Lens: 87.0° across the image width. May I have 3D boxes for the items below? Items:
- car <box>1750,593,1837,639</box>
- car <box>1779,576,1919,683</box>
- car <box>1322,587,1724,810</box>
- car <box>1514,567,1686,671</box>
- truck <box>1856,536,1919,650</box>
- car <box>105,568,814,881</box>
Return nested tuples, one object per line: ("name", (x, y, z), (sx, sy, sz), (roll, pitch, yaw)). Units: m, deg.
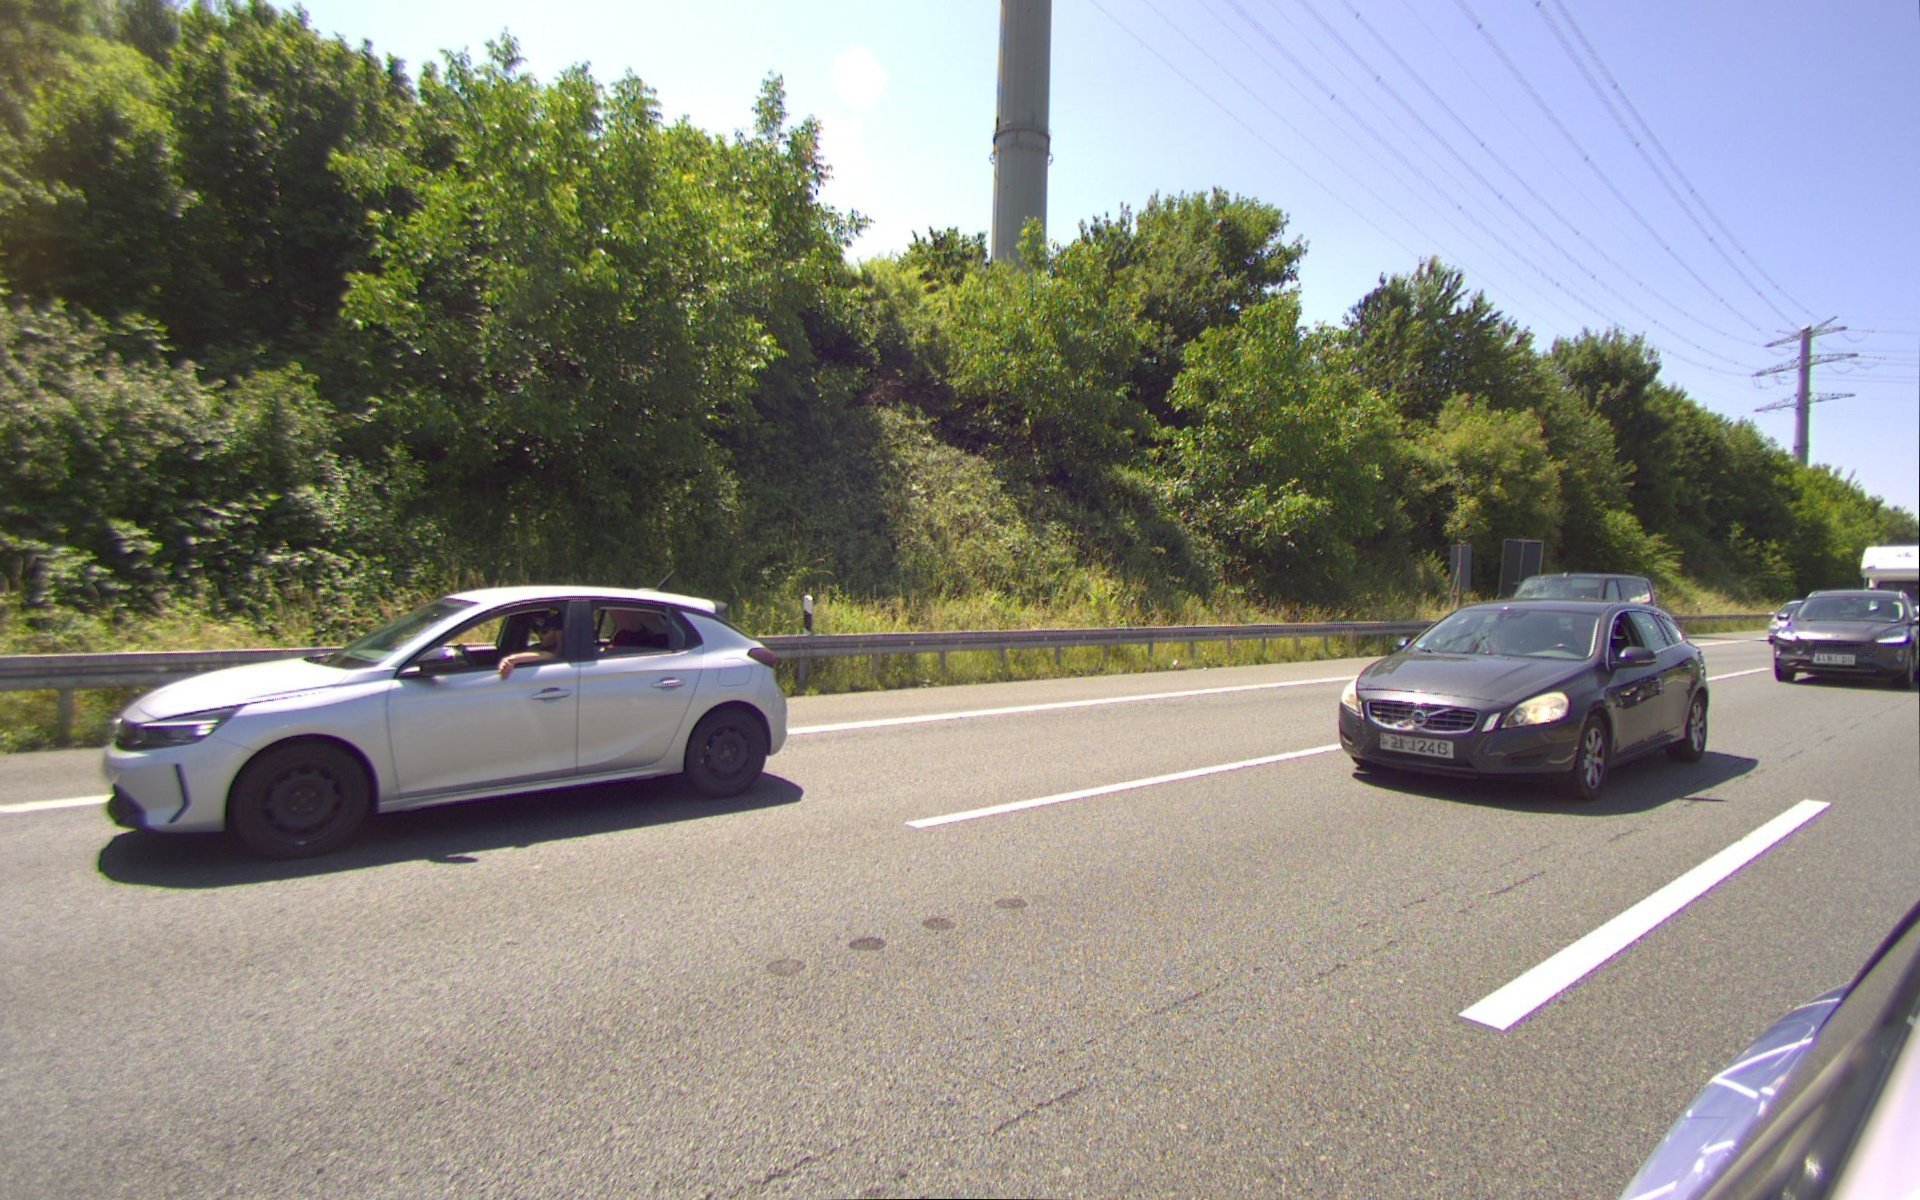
("car", (28.491, 0.505, 34.558), (3.667, 1.455, 1.798), (0, 1, -42))
("car", (16.493, 0.457, 18.382), (4.308, 1.724, 1.890), (0, 1, -42))
("car", (4.978, 0.624, 8.690), (4.158, 1.455, 1.798), (0, 1, -42))
("car", (13.342, 0.334, 20.989), (4.616, 1.928, 1.787), (0, 0, -41))
("truck", (29.441, -0.221, 30.276), (9.721, 3.053, 2.513), (0, 0, -40))
("car", (-3.122, 0.581, 6.769), (3.943, 1.488, 1.744), (0, 0, -41))
